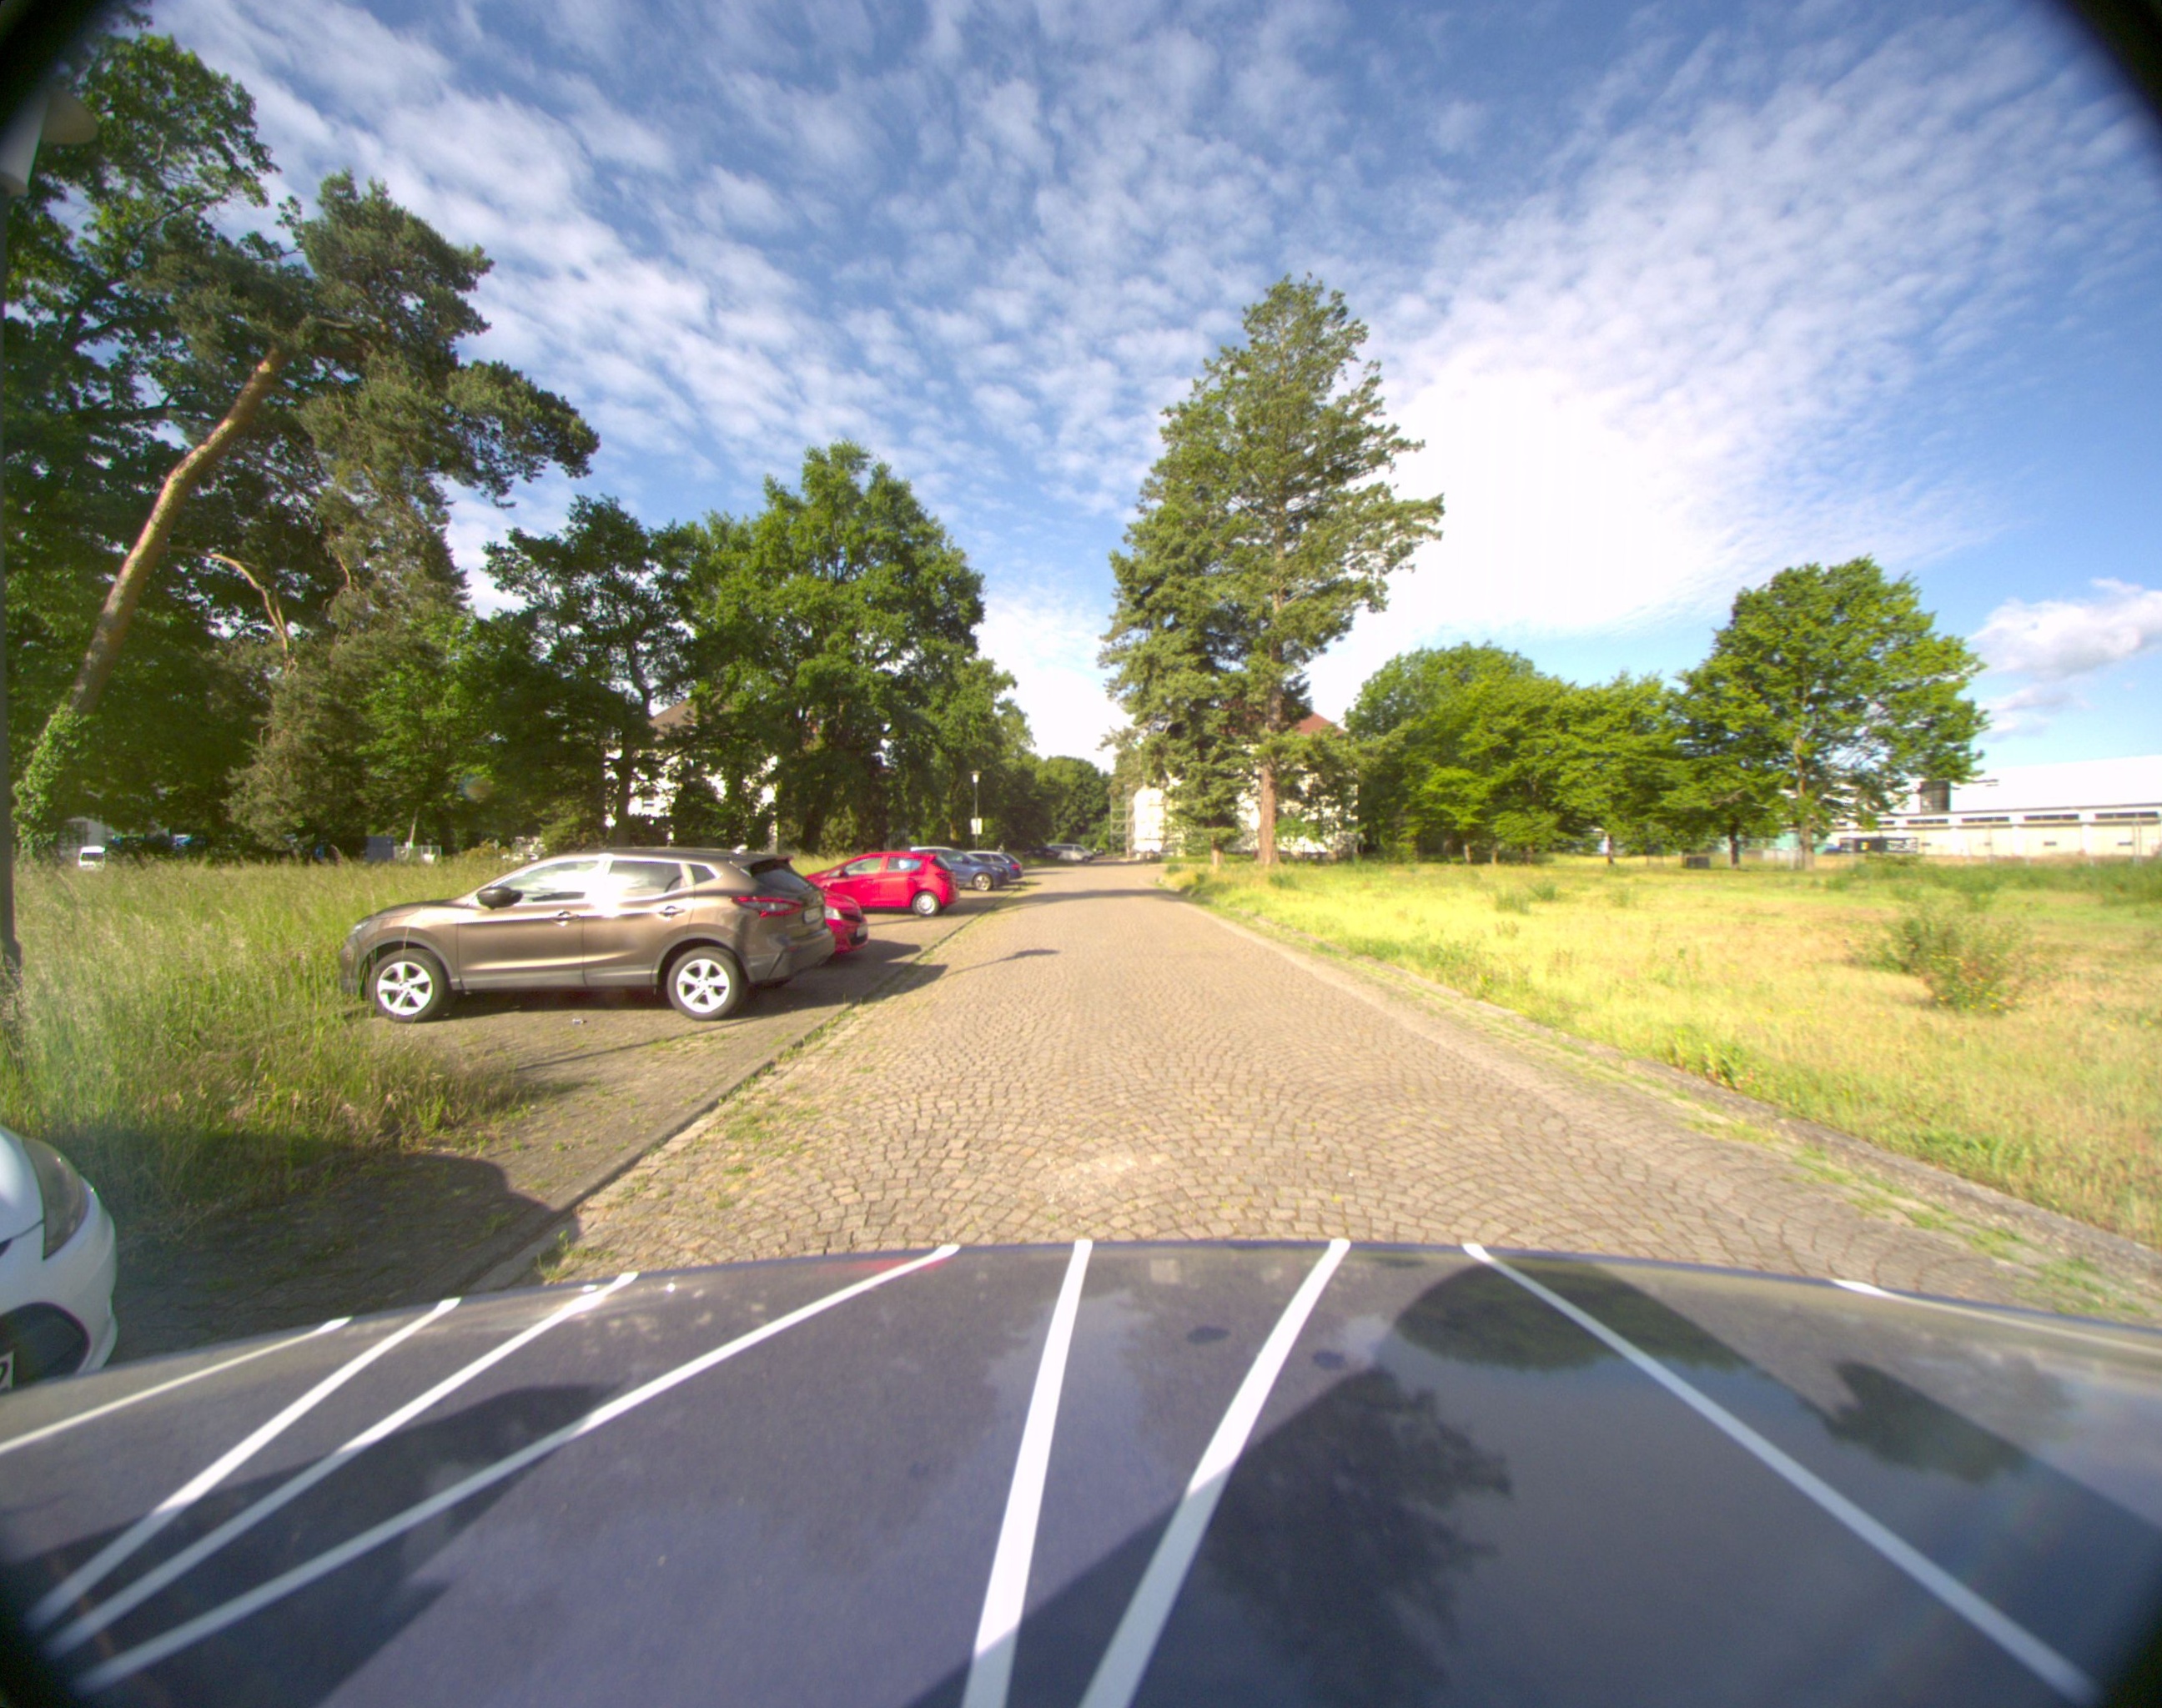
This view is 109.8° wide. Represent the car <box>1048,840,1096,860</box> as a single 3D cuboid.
[{"bbox_3d":[-0.958,-0.447,81.719,4.933,2.002,1.998,1,1,-6],"label":"car"}]

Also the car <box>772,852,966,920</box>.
[{"bbox_3d":[-4.908,0.718,18.036,4.098,1.451,1.852,1,0,-2],"label":"car"}]

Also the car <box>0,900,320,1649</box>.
[{"bbox_3d":[-4.543,0.915,1.343,4.409,1.568,1.939,1,1,-1],"label":"car"}]

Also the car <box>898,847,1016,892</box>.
[{"bbox_3d":[-4.546,0.549,28.263,4.098,1.548,1.852,1,1,-2],"label":"car"}]

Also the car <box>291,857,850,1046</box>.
[{"bbox_3d":[-4.727,0.851,7.640,4.237,1.589,1.934,0,2,-3],"label":"car"}]

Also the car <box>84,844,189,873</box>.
[{"bbox_3d":[-68.286,0.273,55.063,1.906,1.928,4.394,-2,2,1],"label":"car"}]

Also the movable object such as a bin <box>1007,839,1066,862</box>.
[{"bbox_3d":[-4.017,-0.298,68.790,4.865,2.002,2.002,-1,1,13],"label":"movable object such as a bin"}]

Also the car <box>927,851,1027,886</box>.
[{"bbox_3d":[-4.461,0.601,32.949,4.098,1.415,1.784,1,0,-2],"label":"car"}]

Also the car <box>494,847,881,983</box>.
[{"bbox_3d":[-5.083,0.758,10.343,4.237,1.589,1.934,1,2,-3],"label":"car"}]
